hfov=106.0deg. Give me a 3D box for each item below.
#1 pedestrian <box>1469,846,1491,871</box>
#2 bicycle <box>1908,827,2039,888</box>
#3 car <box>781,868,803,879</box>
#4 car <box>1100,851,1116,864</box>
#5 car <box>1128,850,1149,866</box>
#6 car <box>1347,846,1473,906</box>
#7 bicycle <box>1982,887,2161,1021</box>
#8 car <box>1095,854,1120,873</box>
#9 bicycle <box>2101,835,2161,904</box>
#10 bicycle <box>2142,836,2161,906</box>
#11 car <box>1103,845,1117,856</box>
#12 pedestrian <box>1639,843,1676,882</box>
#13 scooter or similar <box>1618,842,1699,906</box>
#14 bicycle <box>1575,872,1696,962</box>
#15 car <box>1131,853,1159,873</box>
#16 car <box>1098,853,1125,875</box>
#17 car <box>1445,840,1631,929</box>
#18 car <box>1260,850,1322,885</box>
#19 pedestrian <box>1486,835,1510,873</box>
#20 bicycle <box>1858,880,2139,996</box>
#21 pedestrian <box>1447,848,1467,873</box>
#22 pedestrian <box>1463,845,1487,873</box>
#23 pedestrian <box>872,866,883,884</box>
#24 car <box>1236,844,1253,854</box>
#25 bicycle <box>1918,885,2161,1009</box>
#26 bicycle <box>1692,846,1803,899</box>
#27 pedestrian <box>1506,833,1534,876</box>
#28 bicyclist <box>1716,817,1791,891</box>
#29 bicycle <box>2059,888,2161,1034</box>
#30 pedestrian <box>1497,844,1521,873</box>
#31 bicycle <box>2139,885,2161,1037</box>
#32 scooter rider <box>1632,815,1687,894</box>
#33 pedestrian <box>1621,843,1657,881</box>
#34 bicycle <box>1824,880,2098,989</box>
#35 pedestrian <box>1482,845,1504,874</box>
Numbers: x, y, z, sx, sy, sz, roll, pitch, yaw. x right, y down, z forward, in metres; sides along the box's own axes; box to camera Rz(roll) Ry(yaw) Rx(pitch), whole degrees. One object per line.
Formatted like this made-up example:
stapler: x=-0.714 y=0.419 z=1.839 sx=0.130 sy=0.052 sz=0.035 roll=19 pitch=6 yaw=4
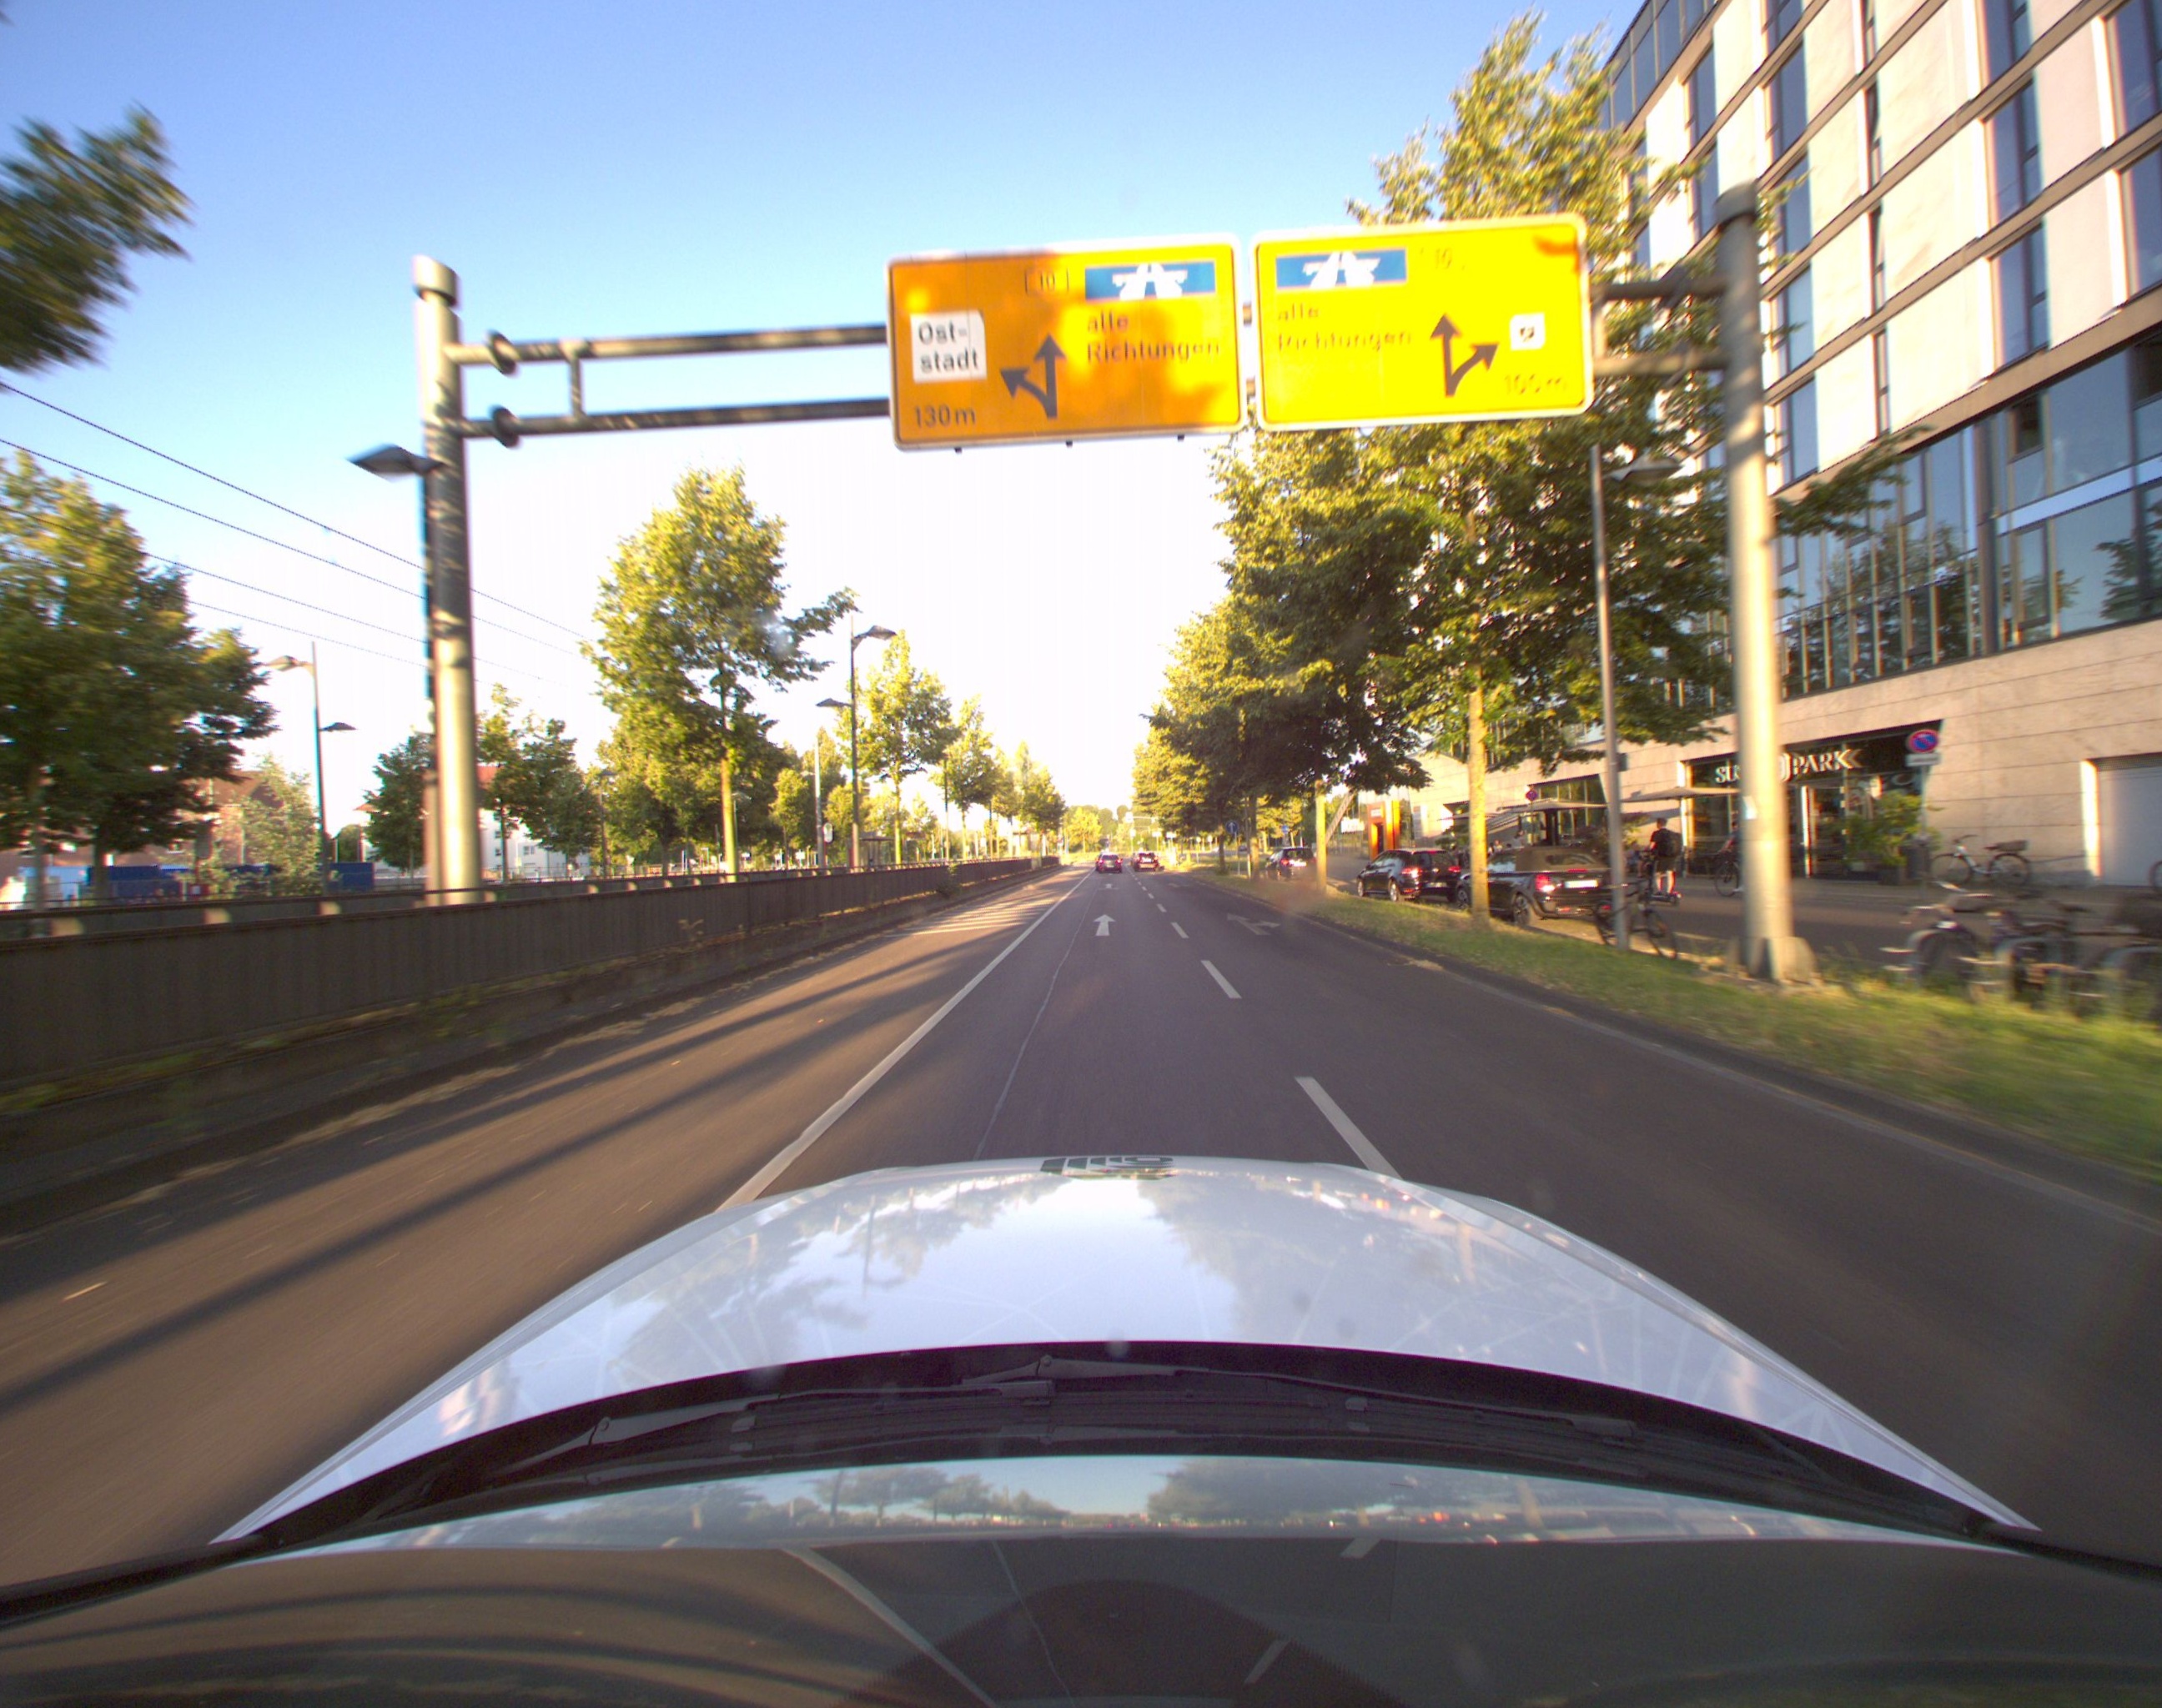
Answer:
pedestrian: x=19.410 y=0.222 z=39.596 sx=0.618 sy=1.186 sz=0.713 roll=-2 pitch=0 yaw=-35
bicycle: x=18.923 y=0.075 z=17.353 sx=0.467 sy=1.208 sz=2.266 roll=-2 pitch=0 yaw=6
car: x=-45.774 y=3.062 z=129.071 sx=1.986 sy=1.662 sz=4.002 roll=-2 pitch=0 yaw=2
car: x=3.351 y=0.448 z=101.819 sx=1.905 sy=1.486 sz=4.001 roll=-2 pitch=0 yaw=1
car: x=5.720 y=0.435 z=81.721 sx=1.905 sy=1.486 sz=4.001 roll=-2 pitch=0 yaw=1
car: x=9.071 y=0.569 z=22.847 sx=1.772 sy=1.472 sz=4.288 roll=-2 pitch=0 yaw=0
bicycle: x=8.042 y=0.746 z=6.152 sx=2.138 sy=0.939 sz=0.451 roll=1 pitch=0 yaw=-5
car: x=2.168 y=0.771 z=66.994 sx=1.905 sy=1.486 sz=4.001 roll=-2 pitch=0 yaw=1
bicycle: x=18.093 y=0.230 z=13.509 sx=1.780 sy=1.104 sz=0.508 roll=-2 pitch=0 yaw=-3
bicycle: x=18.065 y=0.236 z=12.954 sx=1.780 sy=1.104 sz=0.508 roll=-2 pitch=0 yaw=-3
car: x=4.232 y=-0.458 z=118.479 sx=1.905 sy=1.486 sz=4.001 roll=-2 pitch=0 yaw=1
pedestrian: x=18.010 y=0.263 z=25.447 sx=0.569 sy=1.195 sz=0.807 roll=-2 pitch=0 yaw=4
scooter or similar: x=12.509 y=0.415 z=17.701 sx=0.524 sy=1.310 sz=1.664 roll=-2 pitch=0 yaw=0
bicycle: x=6.888 y=0.735 z=10.223 sx=0.317 sy=0.980 sz=1.848 roll=-2 pitch=0 yaw=3
car: x=4.998 y=0.703 z=64.063 sx=1.905 sy=1.486 sz=4.001 roll=-2 pitch=0 yaw=1
car: x=2.230 y=0.728 z=60.648 sx=1.905 sy=1.486 sz=4.001 roll=-2 pitch=0 yaw=1
car: x=8.670 y=0.526 z=15.852 sx=1.569 sy=1.472 sz=3.884 roll=-2 pitch=0 yaw=3
car: x=9.722 y=0.598 z=37.979 sx=1.751 sy=1.466 sz=4.157 roll=-2 pitch=0 yaw=0
pedestrian: x=19.395 y=-0.010 z=37.879 sx=0.635 sy=1.718 sz=0.695 roll=-2 pitch=0 yaw=-18
bicycle: x=8.002 y=0.725 z=7.124 sx=2.138 sy=0.939 sz=0.442 roll=1 pitch=0 yaw=-5
pedestrian: x=18.766 y=0.326 z=40.658 sx=0.569 sy=1.186 sz=0.862 roll=-2 pitch=0 yaw=3
pedestrian: x=18.083 y=0.232 z=37.405 sx=0.627 sy=1.283 sz=0.712 roll=-2 pitch=0 yaw=-20
pedestrian: x=-14.804 y=1.513 z=59.214 sx=0.613 sy=1.319 sz=0.744 roll=-2 pitch=0 yaw=-1
car: x=30.976 y=-0.997 z=154.313 sx=1.975 sy=1.728 sz=4.024 roll=-2 pitch=0 yaw=28
bicycle: x=8.043 y=0.751 z=6.637 sx=2.138 sy=0.939 sz=0.442 roll=1 pitch=0 yaw=-5
bicycle: x=14.840 y=0.395 z=18.222 sx=0.769 sy=1.079 sz=2.063 roll=-2 pitch=0 yaw=0
pedestrian: x=18.139 y=0.015 z=33.618 sx=0.707 sy=1.737 sz=0.683 roll=-2 pitch=0 yaw=-28
bicyclist: x=14.843 y=0.006 z=18.005 sx=0.769 sy=1.566 sz=0.992 roll=-2 pitch=0 yaw=0
bicycle: x=8.028 y=0.737 z=5.675 sx=2.139 sy=0.939 sz=0.442 roll=1 pitch=0 yaw=-6
pedestrian: x=19.450 y=0.218 z=37.042 sx=0.580 sy=1.283 sz=0.735 roll=-2 pitch=0 yaw=-16
bicycle: x=8.020 y=0.715 z=5.208 sx=2.138 sy=0.973 sz=0.442 roll=1 pitch=0 yaw=-5
scooter rider: x=12.480 y=0.011 z=17.583 sx=0.524 sy=1.638 sz=0.832 roll=-2 pitch=0 yaw=0
pedestrian: x=18.077 y=0.252 z=26.389 sx=0.569 sy=1.195 sz=0.807 roll=-2 pitch=0 yaw=2
bicycle: x=8.231 y=0.742 z=7.643 sx=2.138 sy=0.939 sz=0.544 roll=1 pitch=0 yaw=-5
pedestrian: x=18.722 y=0.227 z=37.034 sx=0.577 sy=1.283 sz=0.738 roll=-2 pitch=0 yaw=-2
